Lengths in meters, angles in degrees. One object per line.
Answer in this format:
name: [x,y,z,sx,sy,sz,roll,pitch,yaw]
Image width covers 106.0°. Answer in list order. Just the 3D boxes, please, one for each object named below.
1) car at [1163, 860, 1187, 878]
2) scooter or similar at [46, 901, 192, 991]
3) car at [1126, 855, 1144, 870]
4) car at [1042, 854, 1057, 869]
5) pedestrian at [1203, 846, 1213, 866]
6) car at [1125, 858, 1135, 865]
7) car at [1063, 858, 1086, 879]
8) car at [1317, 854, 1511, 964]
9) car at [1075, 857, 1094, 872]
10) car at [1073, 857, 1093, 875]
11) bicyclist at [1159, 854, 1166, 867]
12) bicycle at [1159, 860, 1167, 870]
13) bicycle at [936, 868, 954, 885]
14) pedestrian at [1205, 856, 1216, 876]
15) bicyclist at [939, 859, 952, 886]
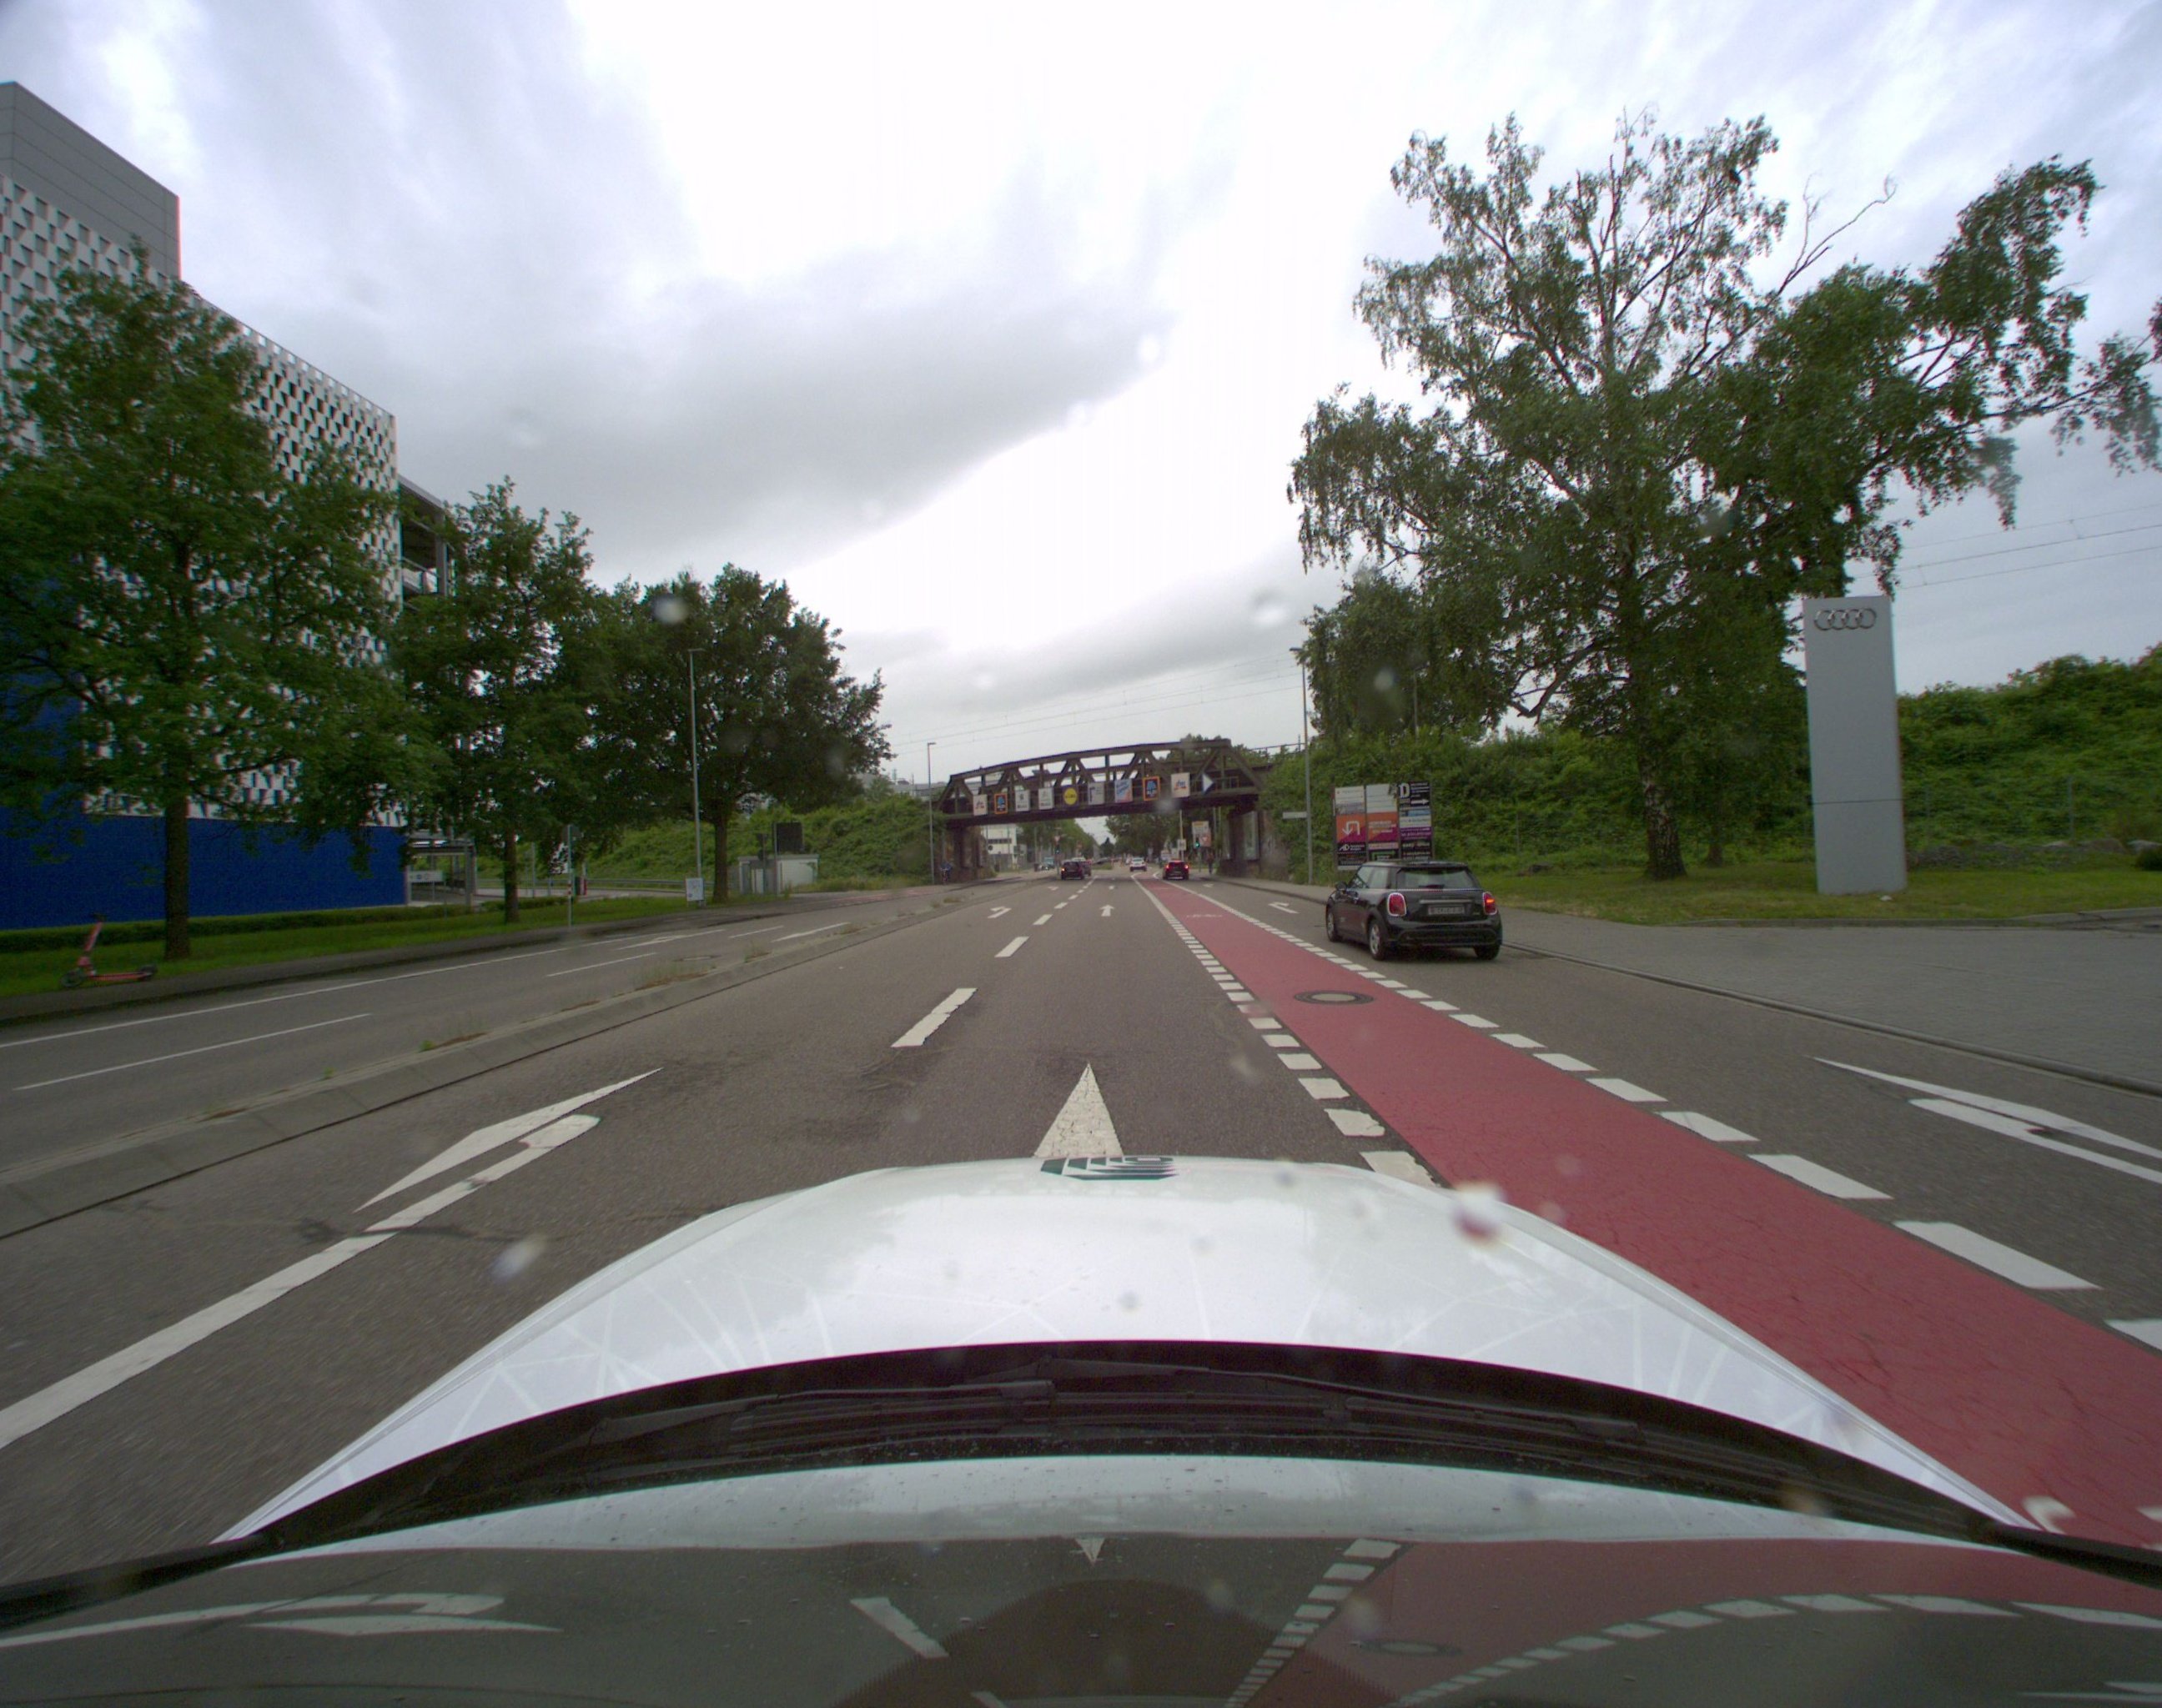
car: [6.918,1.079,60.110,1.639,1.281,3.424,-1,0,5]
scooter or similar: [-15.999,1.497,13.592,0.444,1.321,1.510,-2,0,12]
car: [6.222,0.976,94.074,1.818,1.600,3.774,-1,0,-1]
car: [-6.486,1.542,167.987,2.317,2.826,5.957,-3,-1,5]
pedestrian: [11.388,0.211,72.929,0.867,1.759,0.789,-2,-1,8]
car: [10.981,1.704,182.140,1.790,1.513,3.704,-1,0,-1]
car: [-0.540,1.140,65.212,1.763,1.528,3.668,-1,0,-1]
car: [4.985,0.733,12.742,1.672,1.431,3.777,-1,0,4]
car: [0.324,1.111,90.360,1.956,1.528,5.007,-1,0,-1]
car: [0.167,1.098,76.106,1.767,1.652,3.668,-1,0,-1]
bicyclist: [10.733,0.892,107.241,0.813,1.630,1.235,-3,-1,2]
bicycle: [10.761,1.444,107.237,0.813,1.212,2.684,-3,-1,2]
bicycle: [-9.417,1.547,56.504,0.710,1.187,2.372,-1,-1,2]
pedestrian: [10.481,0.970,65.964,0.738,1.640,0.779,-2,-1,4]
bicyclist: [-9.417,1.279,56.502,0.699,1.874,1.020,-1,-1,2]
